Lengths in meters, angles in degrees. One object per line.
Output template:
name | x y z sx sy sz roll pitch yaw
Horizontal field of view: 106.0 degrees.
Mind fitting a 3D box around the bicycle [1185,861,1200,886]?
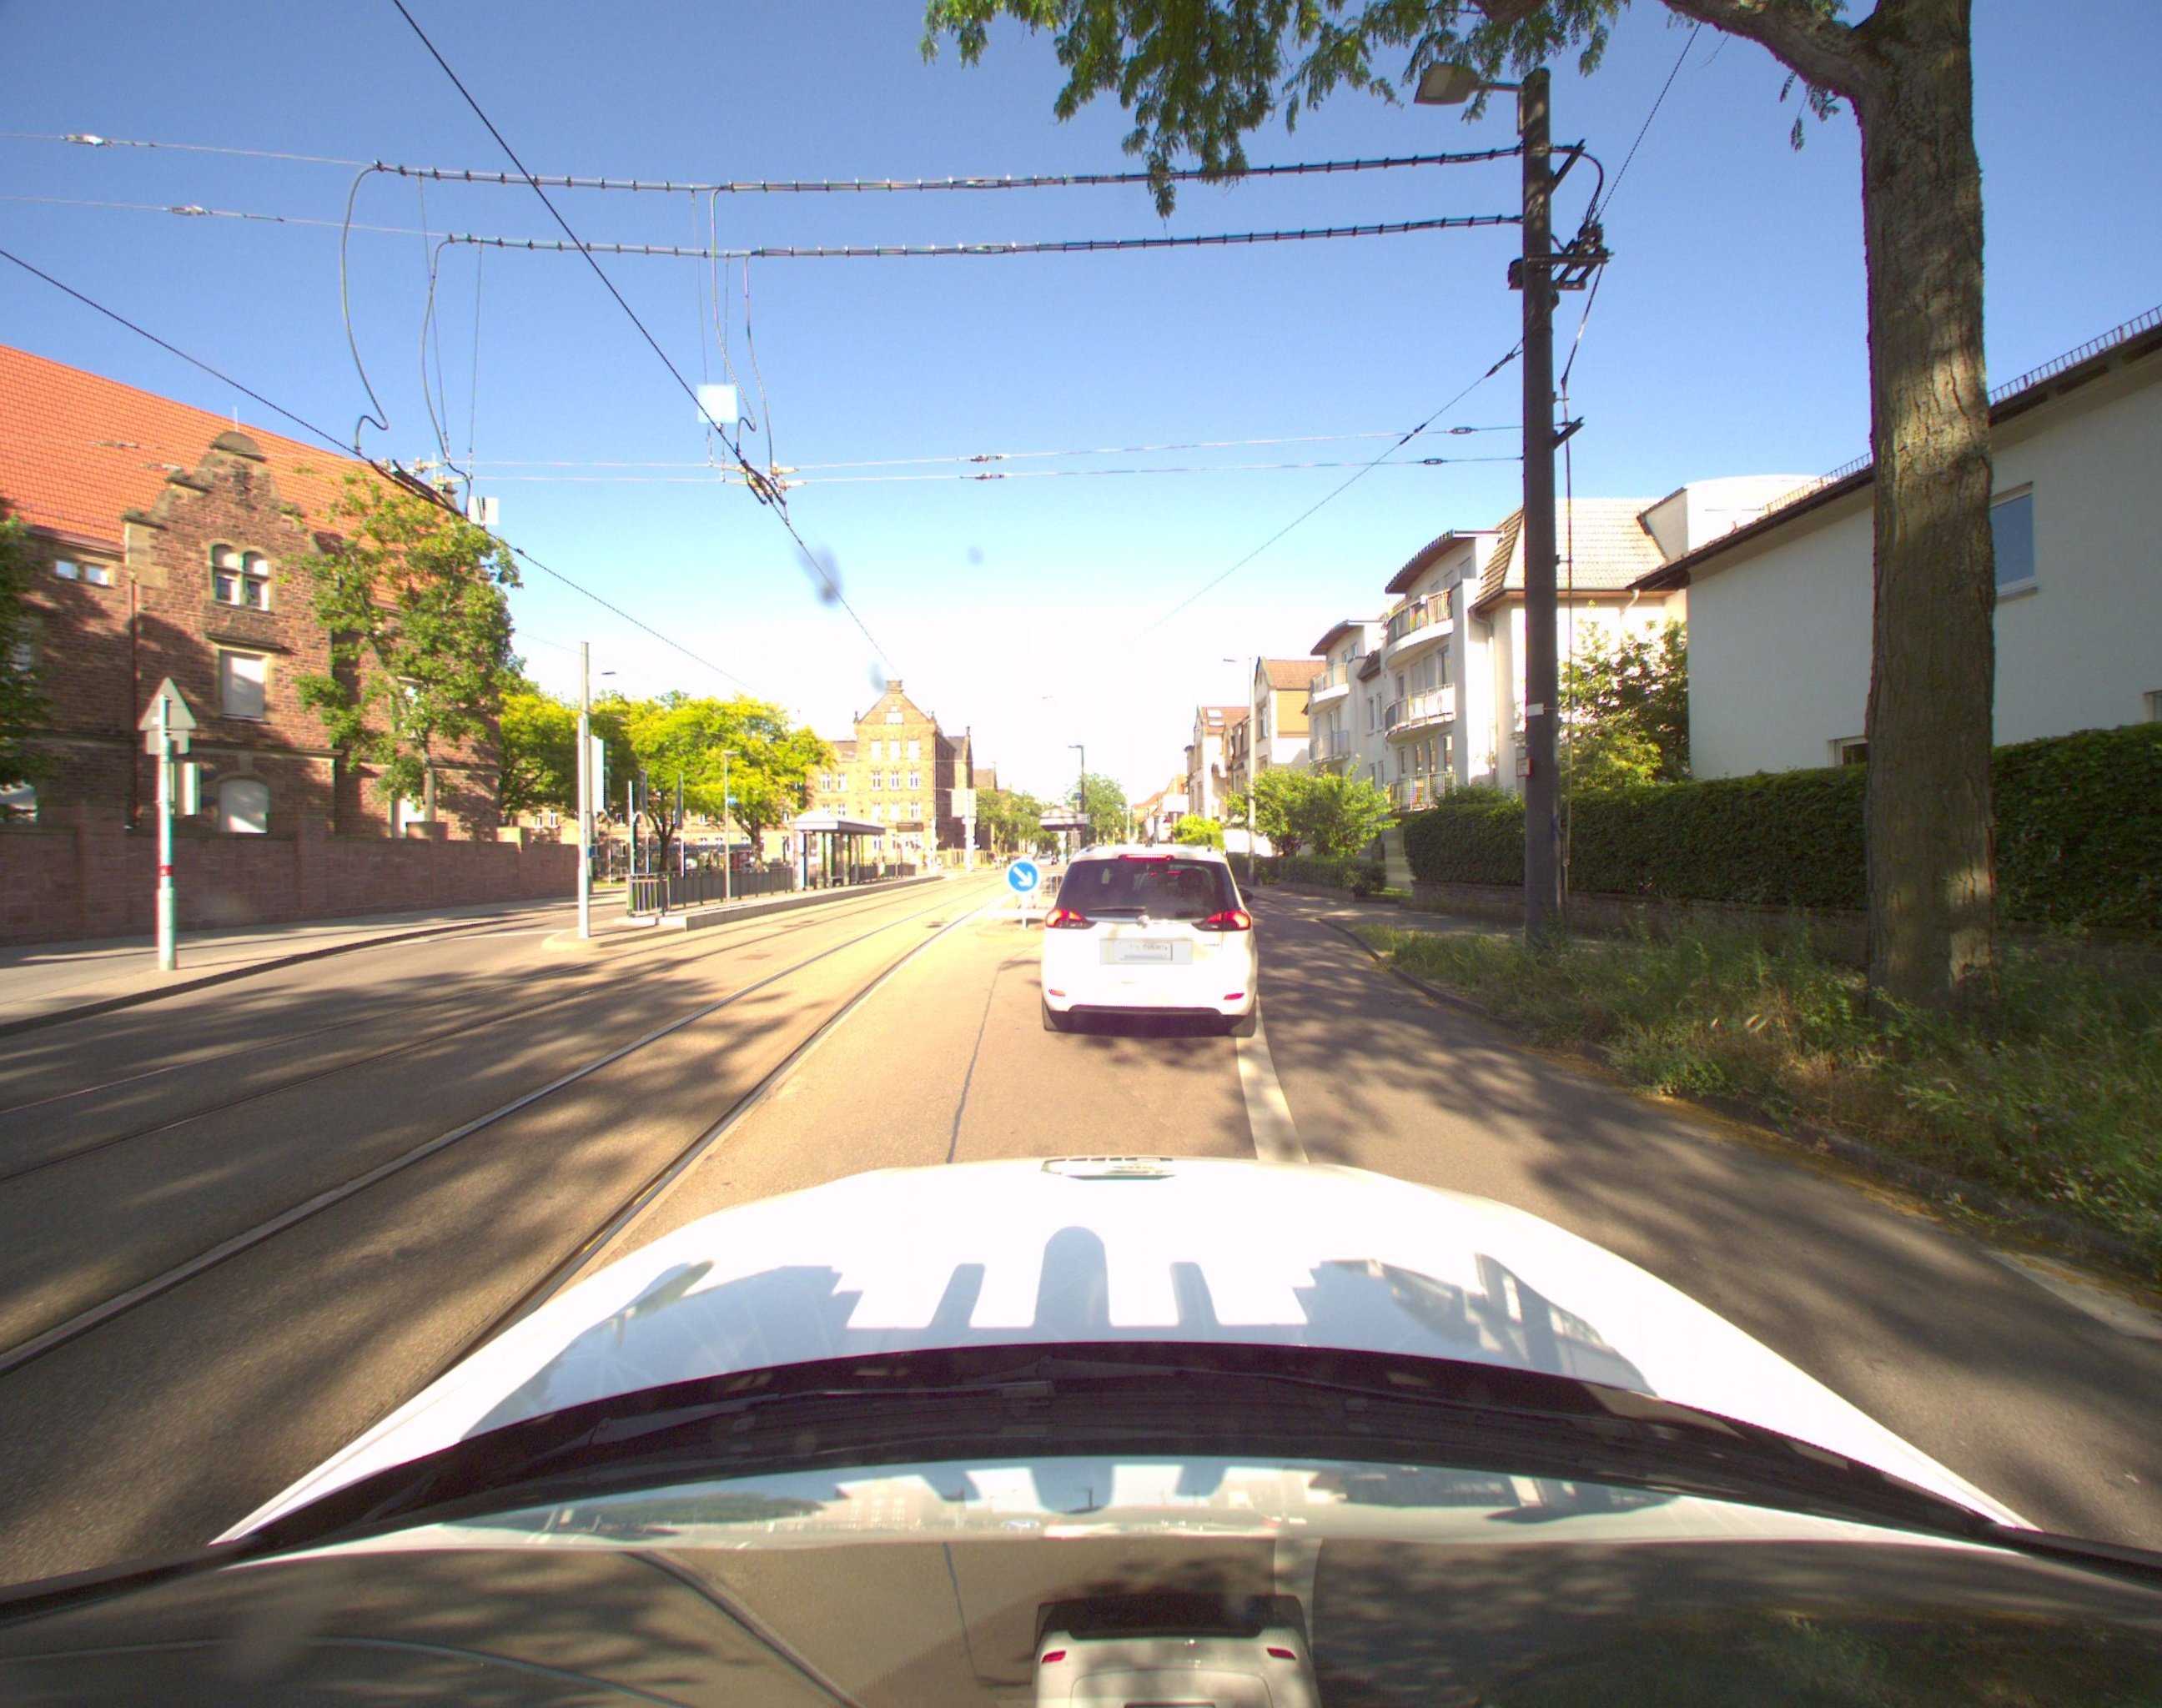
bicycle | 5.124 0.870 37.485 0.621 1.097 1.977 -1 0 6

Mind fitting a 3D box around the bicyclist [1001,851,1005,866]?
bicyclist | -10.533 0.651 109.664 0.496 2.013 0.572 -1 0 1

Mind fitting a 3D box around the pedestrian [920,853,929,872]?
pedestrian | -17.064 0.944 88.946 0.800 2.014 0.713 0 -1 -32

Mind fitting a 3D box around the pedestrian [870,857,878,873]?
pedestrian | -22.742 1.212 89.413 0.768 1.774 0.717 0 -1 -15

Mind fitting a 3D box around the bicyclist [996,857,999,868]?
bicyclist | -10.668 1.060 103.496 0.312 1.444 0.384 -1 0 1

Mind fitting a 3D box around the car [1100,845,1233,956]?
car | 1.560 0.687 13.865 1.896 1.597 4.010 -1 0 9

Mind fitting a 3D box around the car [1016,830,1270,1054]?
car | 0.764 0.663 8.160 1.896 1.661 4.010 -1 0 9

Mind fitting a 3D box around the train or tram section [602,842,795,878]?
train or tram section | -37.845 0.582 81.143 17.346 3.154 3.344 -1 -1 -3

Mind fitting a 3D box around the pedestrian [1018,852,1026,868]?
pedestrian | -7.030 0.722 97.522 0.744 1.901 0.804 0 -1 -23

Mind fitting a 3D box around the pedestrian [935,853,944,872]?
pedestrian | -15.556 0.938 89.532 0.801 2.014 0.713 0 -1 -35

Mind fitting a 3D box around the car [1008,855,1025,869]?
car | -8.502 1.033 107.449 1.740 1.716 4.001 0 -1 2

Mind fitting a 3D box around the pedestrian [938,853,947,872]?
pedestrian | -14.553 0.871 85.512 0.796 2.014 0.717 0 -1 -15

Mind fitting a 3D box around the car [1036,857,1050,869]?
car | -5.374 1.290 115.548 1.740 1.716 4.001 0 -1 2

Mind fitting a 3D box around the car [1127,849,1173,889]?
car | 2.996 0.616 36.187 1.899 1.661 4.003 -1 0 3

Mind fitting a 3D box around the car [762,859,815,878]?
car | -25.447 1.243 70.968 3.976 1.630 1.817 0 -1 -2

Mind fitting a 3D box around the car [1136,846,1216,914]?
car | 2.621 0.637 21.687 1.896 1.624 4.010 -1 0 9

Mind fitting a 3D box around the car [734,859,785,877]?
car | -29.654 1.319 75.211 3.976 1.630 1.817 0 -1 -2

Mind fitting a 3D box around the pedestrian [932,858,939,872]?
pedestrian | -17.153 1.260 95.898 0.651 1.612 0.712 0 -1 4

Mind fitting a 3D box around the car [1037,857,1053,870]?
car | -4.711 1.259 107.669 1.740 1.716 4.001 0 -1 2

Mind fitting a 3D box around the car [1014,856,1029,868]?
car | -8.333 1.119 114.116 1.740 1.716 4.001 0 -1 2

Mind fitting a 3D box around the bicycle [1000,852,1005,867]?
bicycle | -10.537 0.709 109.683 0.485 2.013 1.406 -1 0 2

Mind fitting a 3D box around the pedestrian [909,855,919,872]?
pedestrian | -18.380 1.038 89.632 0.802 1.901 0.747 -1 -1 16

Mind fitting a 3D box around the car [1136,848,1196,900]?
car | 2.976 0.652 28.343 1.897 1.661 4.007 -1 0 6

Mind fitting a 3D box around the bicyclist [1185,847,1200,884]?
bicyclist | 5.112 0.509 37.437 0.613 1.686 0.780 -1 0 6

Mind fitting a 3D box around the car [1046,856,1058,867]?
car | -4.607 1.184 129.394 1.740 1.716 4.001 0 -1 2

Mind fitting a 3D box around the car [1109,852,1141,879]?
car | 2.841 0.752 53.180 1.901 1.661 4.000 -1 0 0
